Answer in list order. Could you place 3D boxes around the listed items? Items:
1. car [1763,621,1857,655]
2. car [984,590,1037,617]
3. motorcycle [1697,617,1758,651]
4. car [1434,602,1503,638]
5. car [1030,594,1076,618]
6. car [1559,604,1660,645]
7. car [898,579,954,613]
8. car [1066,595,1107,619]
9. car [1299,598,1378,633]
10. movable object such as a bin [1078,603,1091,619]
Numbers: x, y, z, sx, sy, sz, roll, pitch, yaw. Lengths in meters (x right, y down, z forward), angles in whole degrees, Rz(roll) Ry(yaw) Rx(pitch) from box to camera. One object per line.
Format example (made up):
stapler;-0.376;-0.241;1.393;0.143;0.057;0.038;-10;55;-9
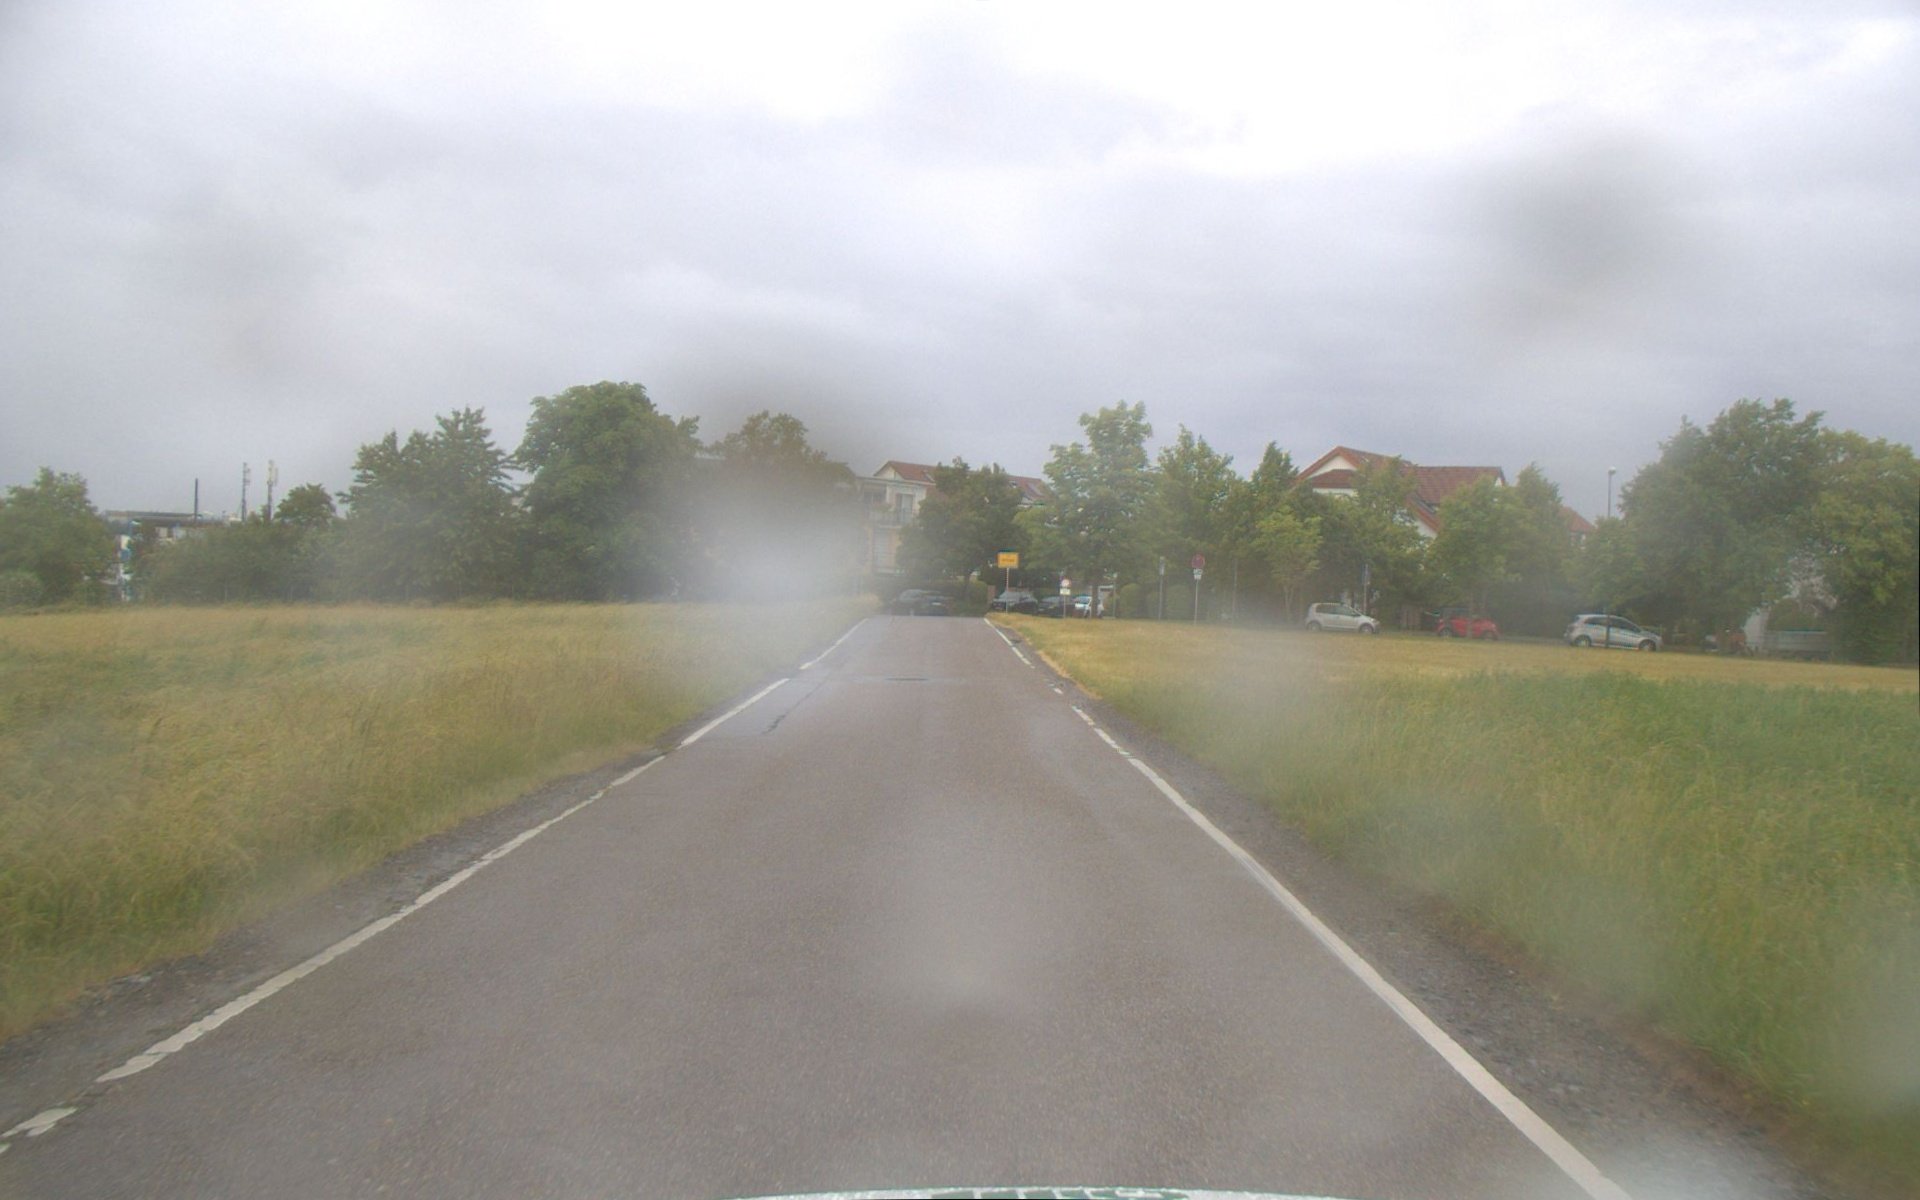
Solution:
car;37.048;1.651;72.167;3.247;1.303;1.735;2;0;11
car;3.248;0.231;105.624;1.742;1.544;4.132;4;1;27
motorcycle;33.674;1.485;72.588;2.210;1.325;0.972;3;1;11
car;23.169;0.914;75.410;2.939;1.461;1.554;3;-1;17
car;6.265;0.436;110.764;1.605;1.433;3.598;4;1;29
car;29.060;1.077;74.102;3.892;1.579;1.853;3;0;12
car;-1.717;-0.198;82.240;1.661;1.579;3.675;2;-1;-20
car;8.843;0.522;115.417;1.483;1.502;3.266;4;1;30
car;17.598;0.740;76.877;3.468;1.505;1.680;2;-1;17
movable object such as a bin;7.403;0.655;98.239;0.560;0.947;0.528;2;0;33
